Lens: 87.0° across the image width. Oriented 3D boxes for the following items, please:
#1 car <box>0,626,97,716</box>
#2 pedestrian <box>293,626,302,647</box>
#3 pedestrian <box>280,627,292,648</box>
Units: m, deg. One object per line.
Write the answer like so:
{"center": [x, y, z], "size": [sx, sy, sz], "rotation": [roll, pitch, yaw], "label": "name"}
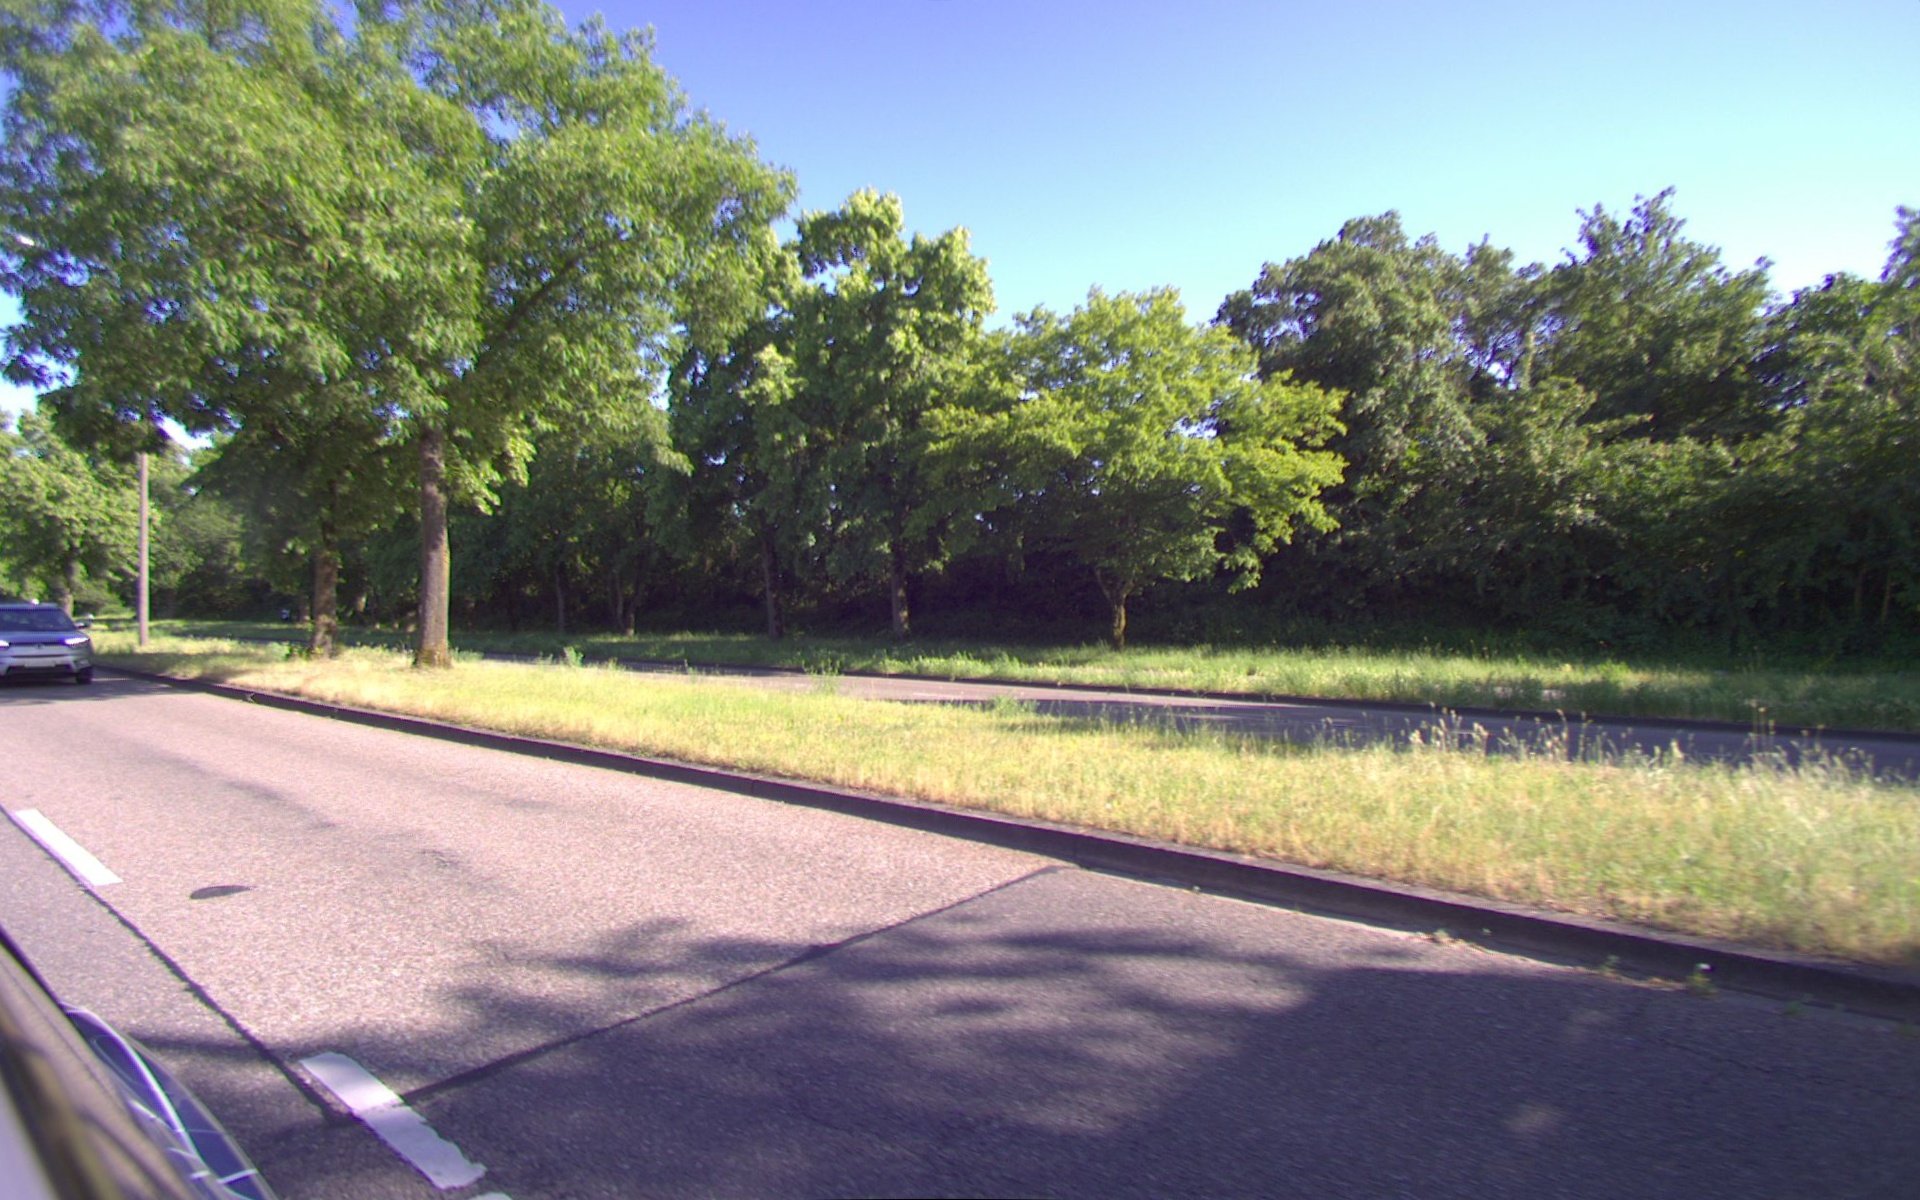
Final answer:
{"center": [-18.690, 1.337, 20.082], "size": [4.103, 1.622, 1.766], "rotation": [-1, -2, 41], "label": "car"}
{"center": [-54.615, 3.022, 83.406], "size": [0.552, 1.672, 0.541], "rotation": [-1, 0, -40], "label": "pedestrian"}
{"center": [-55.192, 3.047, 82.883], "size": [0.672, 1.671, 0.681], "rotation": [-3, 2, -39], "label": "pedestrian"}
